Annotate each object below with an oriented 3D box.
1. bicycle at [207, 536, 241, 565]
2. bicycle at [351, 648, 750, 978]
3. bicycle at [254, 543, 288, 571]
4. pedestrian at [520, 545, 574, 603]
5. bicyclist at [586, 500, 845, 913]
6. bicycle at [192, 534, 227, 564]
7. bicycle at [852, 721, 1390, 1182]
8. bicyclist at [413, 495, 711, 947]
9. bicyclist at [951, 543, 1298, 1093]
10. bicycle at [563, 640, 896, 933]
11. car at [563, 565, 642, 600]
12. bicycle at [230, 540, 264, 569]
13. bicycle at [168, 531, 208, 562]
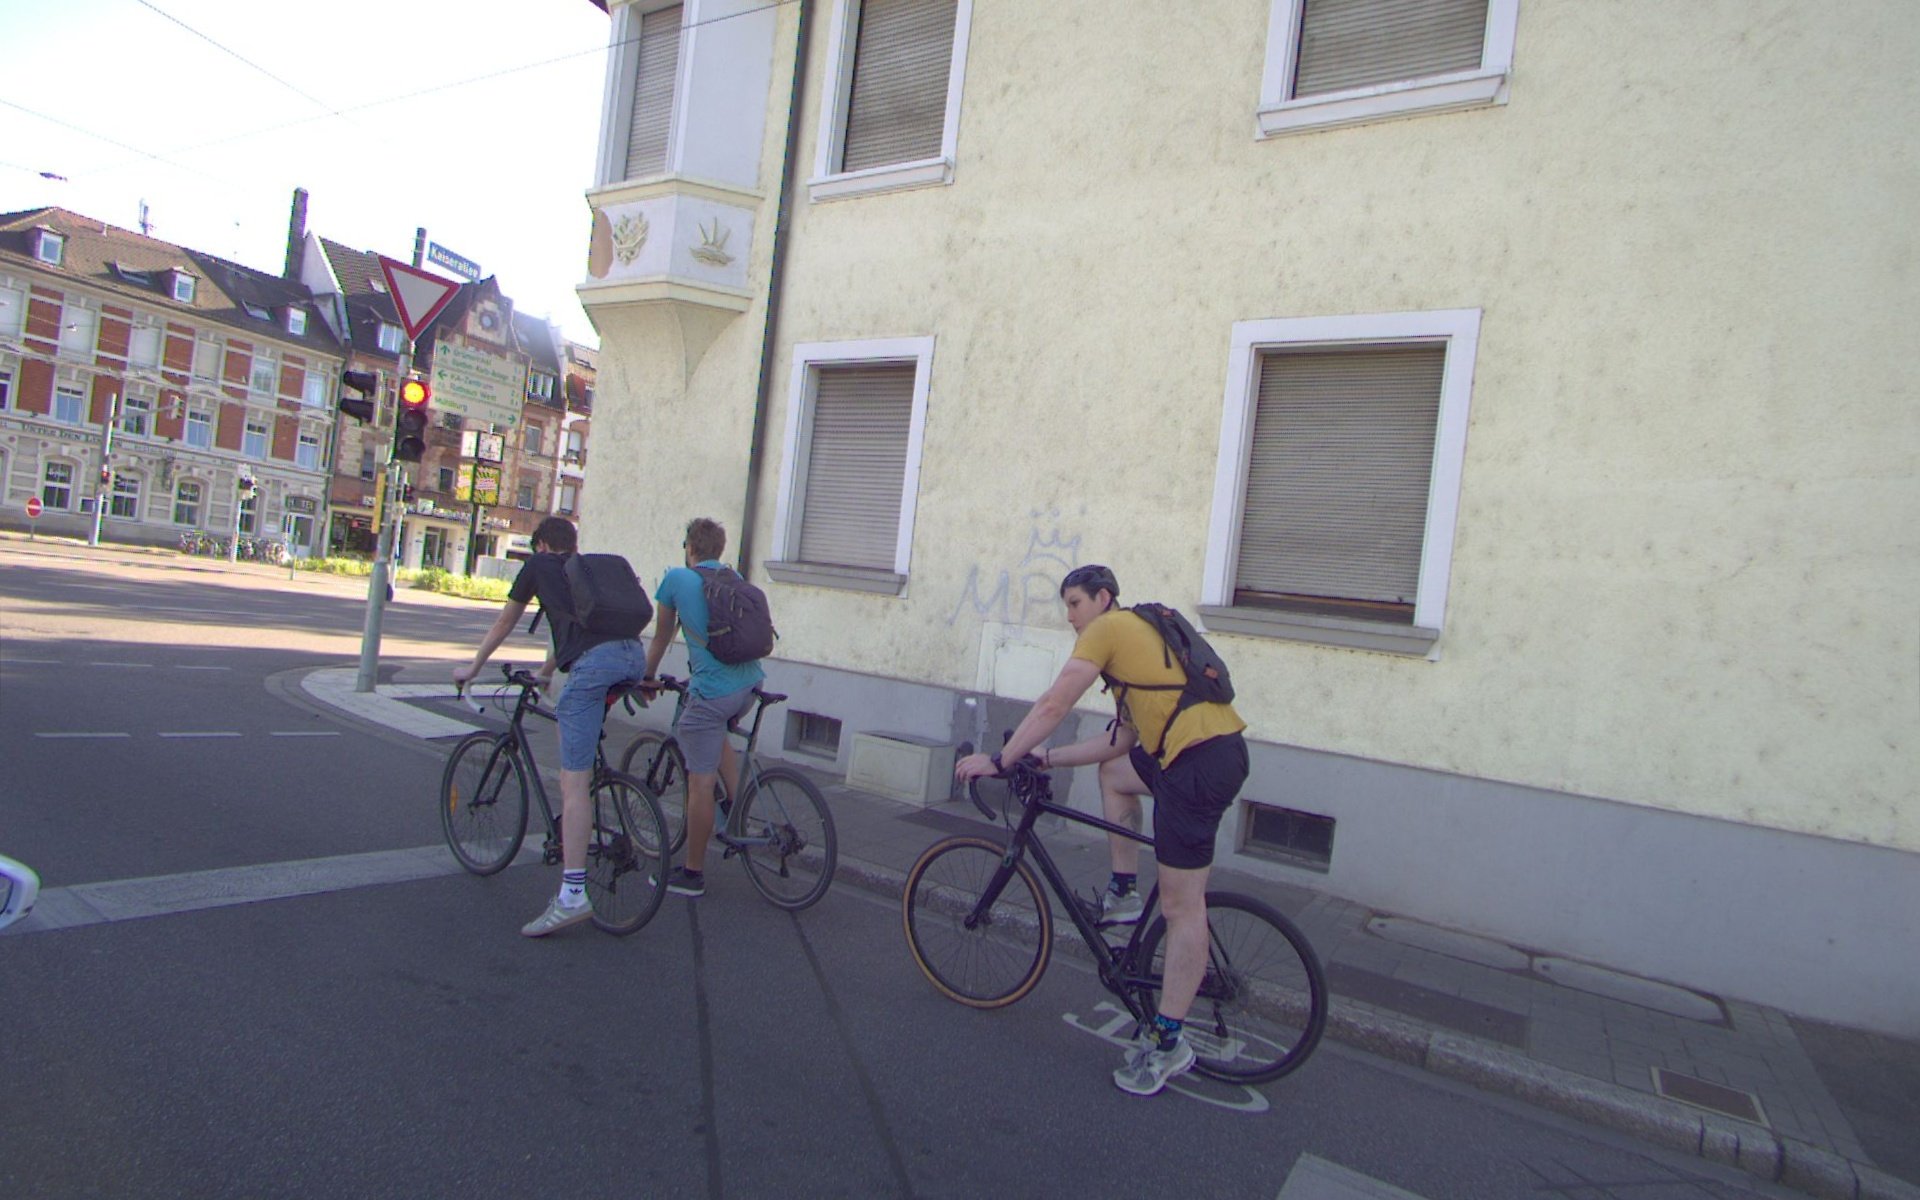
[{"bbox_3d":[-34.208,-2.301,46.757,2.140,1.157,0.618,7,0,37],"label":"bicycle"},{"bbox_3d":[-1.919,0.856,4.586,1.897,1.023,0.645,7,0,34],"label":"bicycle"},{"bbox_3d":[-33.110,-2.060,48.312,2.102,1.150,0.609,7,0,37],"label":"bicycle"},{"bbox_3d":[-16.564,-1.032,40.373,1.285,2.068,1.321,7,0,31],"label":"pedestrian"},{"bbox_3d":[-1.275,0.501,5.241,0.961,1.917,0.602,6,-1,34],"label":"bicyclist"},{"bbox_3d":[-34.543,-2.349,46.279,2.140,1.157,0.618,7,0,37],"label":"bicycle"},{"bbox_3d":[0.546,1.148,3.761,1.780,1.101,0.611,7,0,32],"label":"bicycle"},{"bbox_3d":[-1.808,0.474,4.540,1.083,1.775,0.562,7,0,34],"label":"bicyclist"},{"bbox_3d":[0.618,0.722,3.779,0.939,1.742,0.582,7,0,32],"label":"bicyclist"},{"bbox_3d":[-1.259,0.887,5.275,1.784,1.130,0.519,7,0,34],"label":"bicycle"},{"bbox_3d":[-23.166,-1.113,65.317,2.116,1.660,4.340,7,-1,31],"label":"car"},{"bbox_3d":[-33.675,-2.153,47.508,2.140,1.157,0.618,7,0,37],"label":"bicycle"},{"bbox_3d":[-35.058,-2.438,45.677,2.140,1.157,0.806,7,0,37],"label":"bicycle"}]
